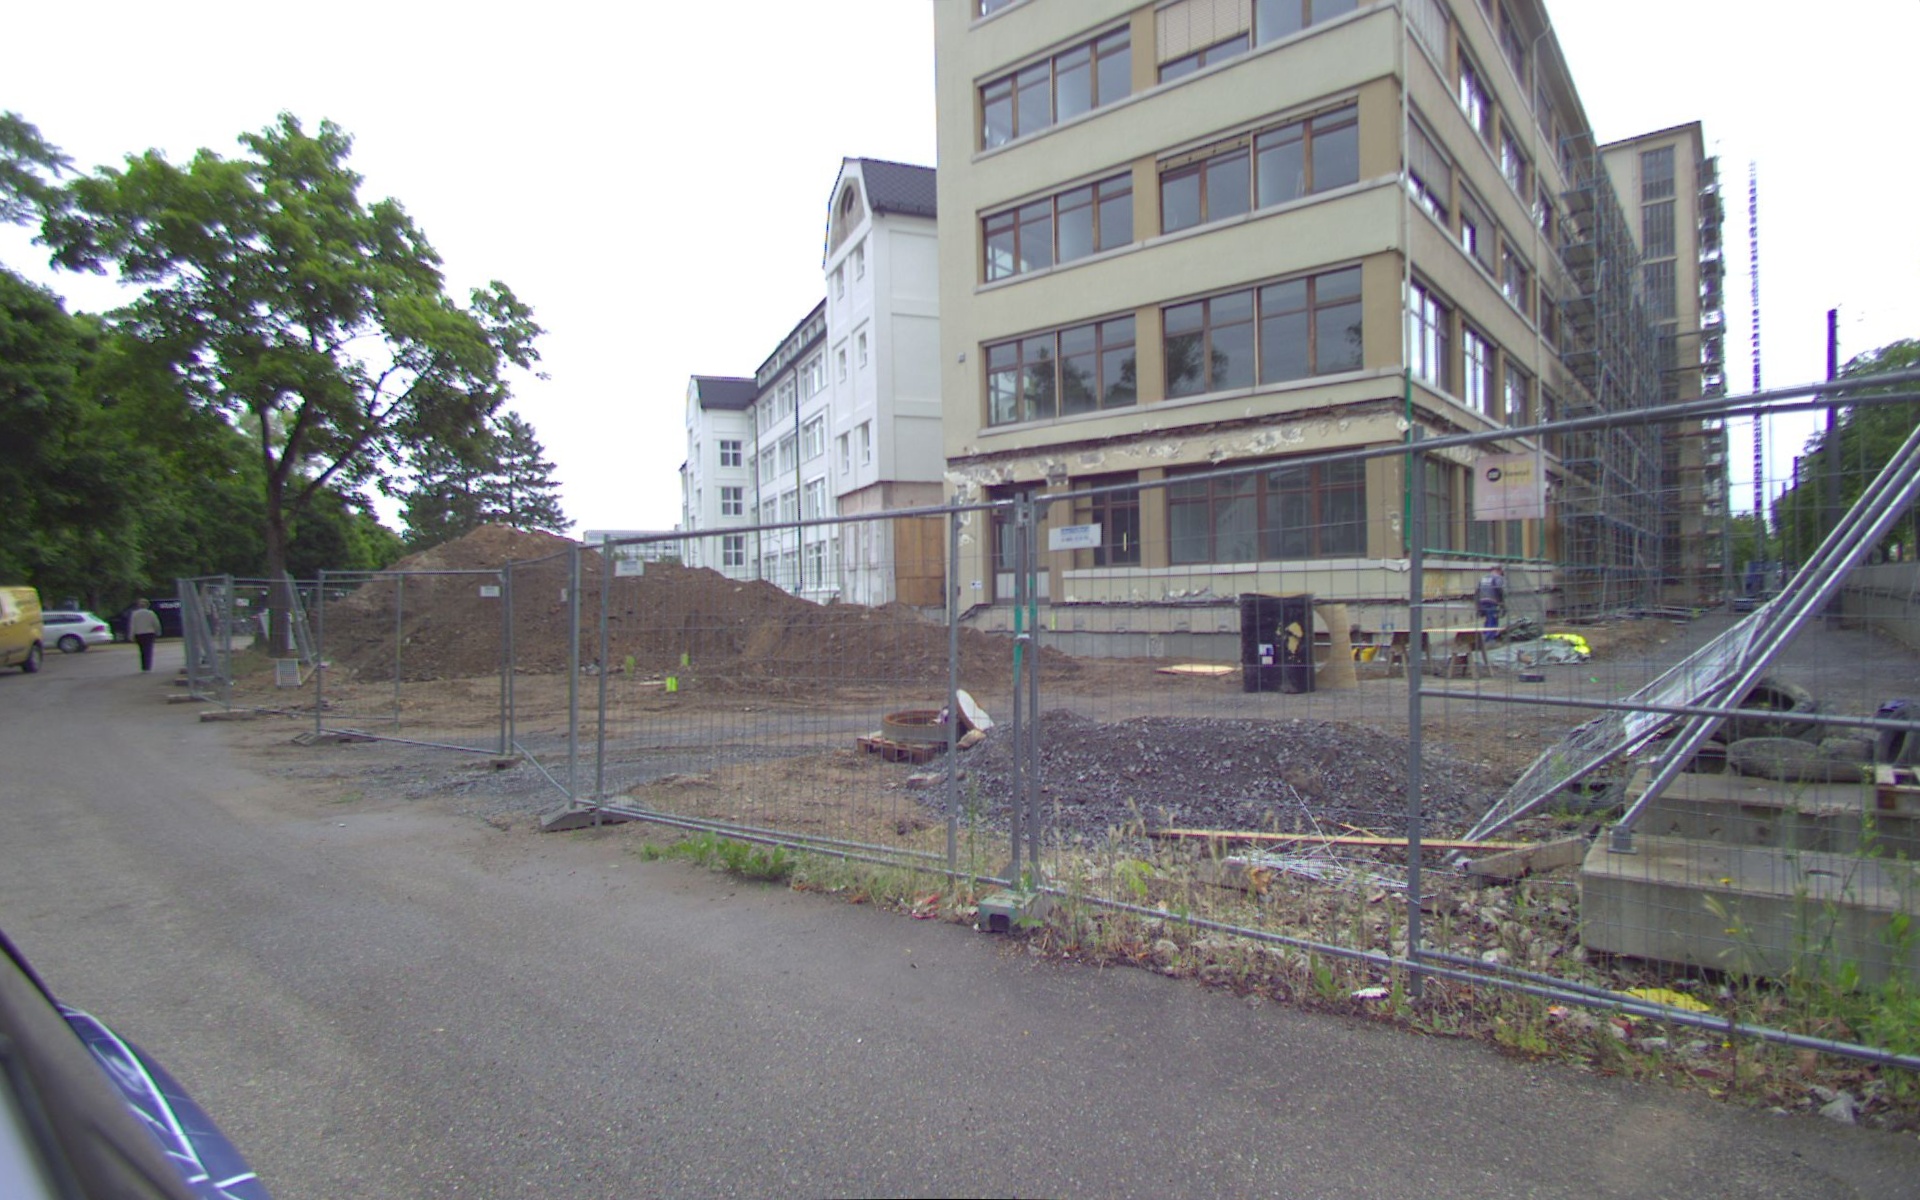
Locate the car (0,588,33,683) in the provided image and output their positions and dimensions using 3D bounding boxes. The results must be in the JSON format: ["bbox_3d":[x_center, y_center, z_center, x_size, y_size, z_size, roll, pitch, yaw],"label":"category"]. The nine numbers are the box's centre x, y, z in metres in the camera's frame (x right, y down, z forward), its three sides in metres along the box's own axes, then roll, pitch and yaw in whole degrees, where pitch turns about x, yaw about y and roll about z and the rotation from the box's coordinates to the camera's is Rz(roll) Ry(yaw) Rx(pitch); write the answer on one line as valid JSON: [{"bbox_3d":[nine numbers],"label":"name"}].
[{"bbox_3d":[-21.473,0.770,21.172,2.089,2.029,4.013,-1,0,-28],"label":"car"}]

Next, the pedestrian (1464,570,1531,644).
[{"bbox_3d":[10.955,0.135,20.618,0.983,1.448,0.917,-1,0,44],"label":"pedestrian"}]

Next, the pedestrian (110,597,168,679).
[{"bbox_3d":[-18.321,0.832,22.595,0.657,1.795,0.747,-1,0,16],"label":"pedestrian"}]

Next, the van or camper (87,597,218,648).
[{"bbox_3d":[-37.893,1.022,47.627,4.423,2.275,2.007,-1,0,-23],"label":"van or camper"}]

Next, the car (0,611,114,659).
[{"bbox_3d":[-32.660,1.223,35.949,3.822,1.586,1.756,-1,0,-35],"label":"car"}]
